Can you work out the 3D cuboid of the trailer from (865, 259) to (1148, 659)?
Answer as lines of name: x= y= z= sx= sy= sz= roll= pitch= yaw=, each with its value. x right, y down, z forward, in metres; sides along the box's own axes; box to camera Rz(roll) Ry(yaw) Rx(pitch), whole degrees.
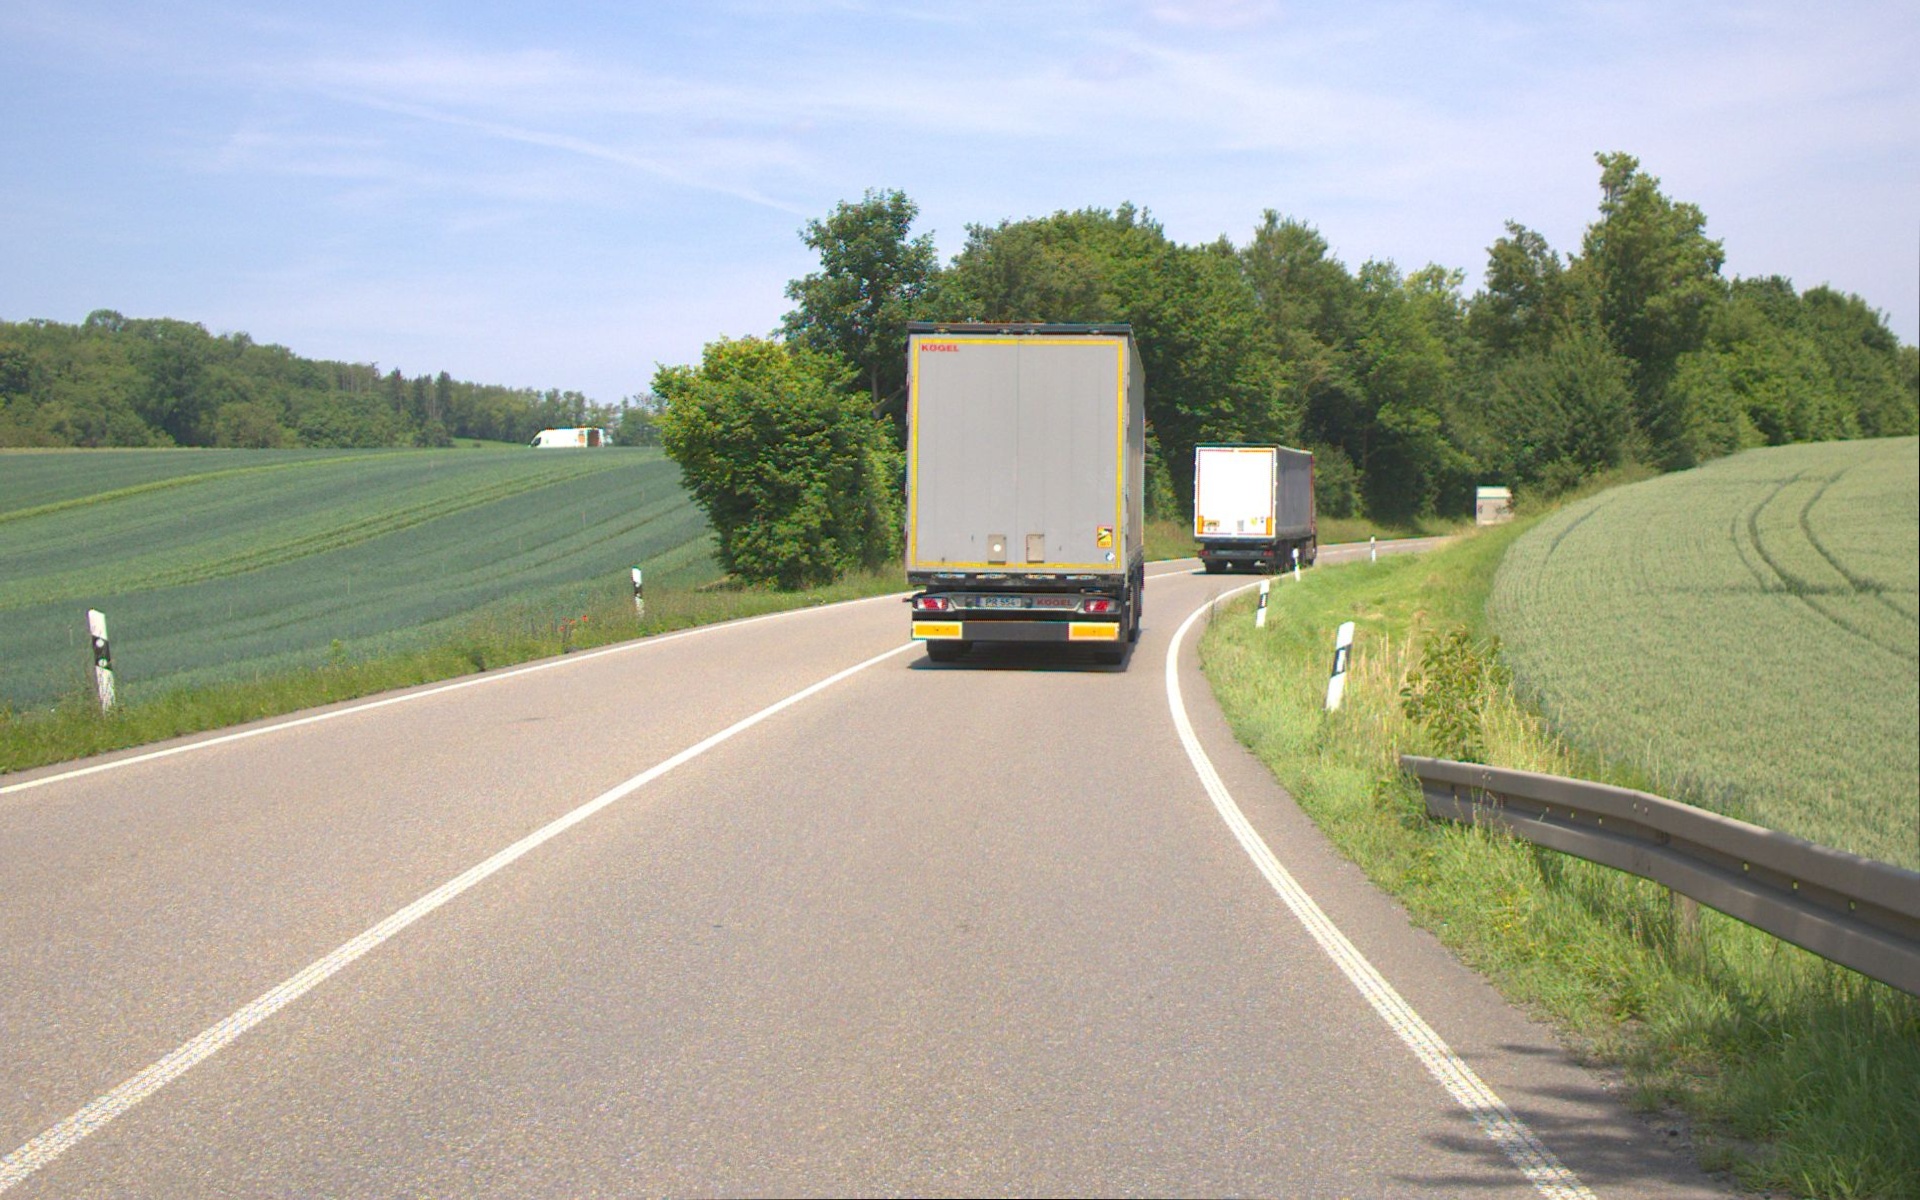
trailer: x=0.896 y=-1.704 z=45.543 sx=3.118 sy=4.484 sz=13.885 roll=0 pitch=1 yaw=3

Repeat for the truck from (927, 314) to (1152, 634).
truck: x=1.302 y=-1.832 z=51.669 sx=3.118 sy=4.479 sz=6.810 roll=0 pitch=1 yaw=3

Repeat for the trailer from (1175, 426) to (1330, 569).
trailer: x=9.674 y=-3.465 z=111.951 sx=3.367 sy=4.301 sz=13.859 roll=0 pitch=3 yaw=12

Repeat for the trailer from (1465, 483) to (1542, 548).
trailer: x=31.139 y=-4.782 z=196.562 sx=2.825 sy=3.297 sz=11.508 roll=0 pitch=-1 yaw=17
